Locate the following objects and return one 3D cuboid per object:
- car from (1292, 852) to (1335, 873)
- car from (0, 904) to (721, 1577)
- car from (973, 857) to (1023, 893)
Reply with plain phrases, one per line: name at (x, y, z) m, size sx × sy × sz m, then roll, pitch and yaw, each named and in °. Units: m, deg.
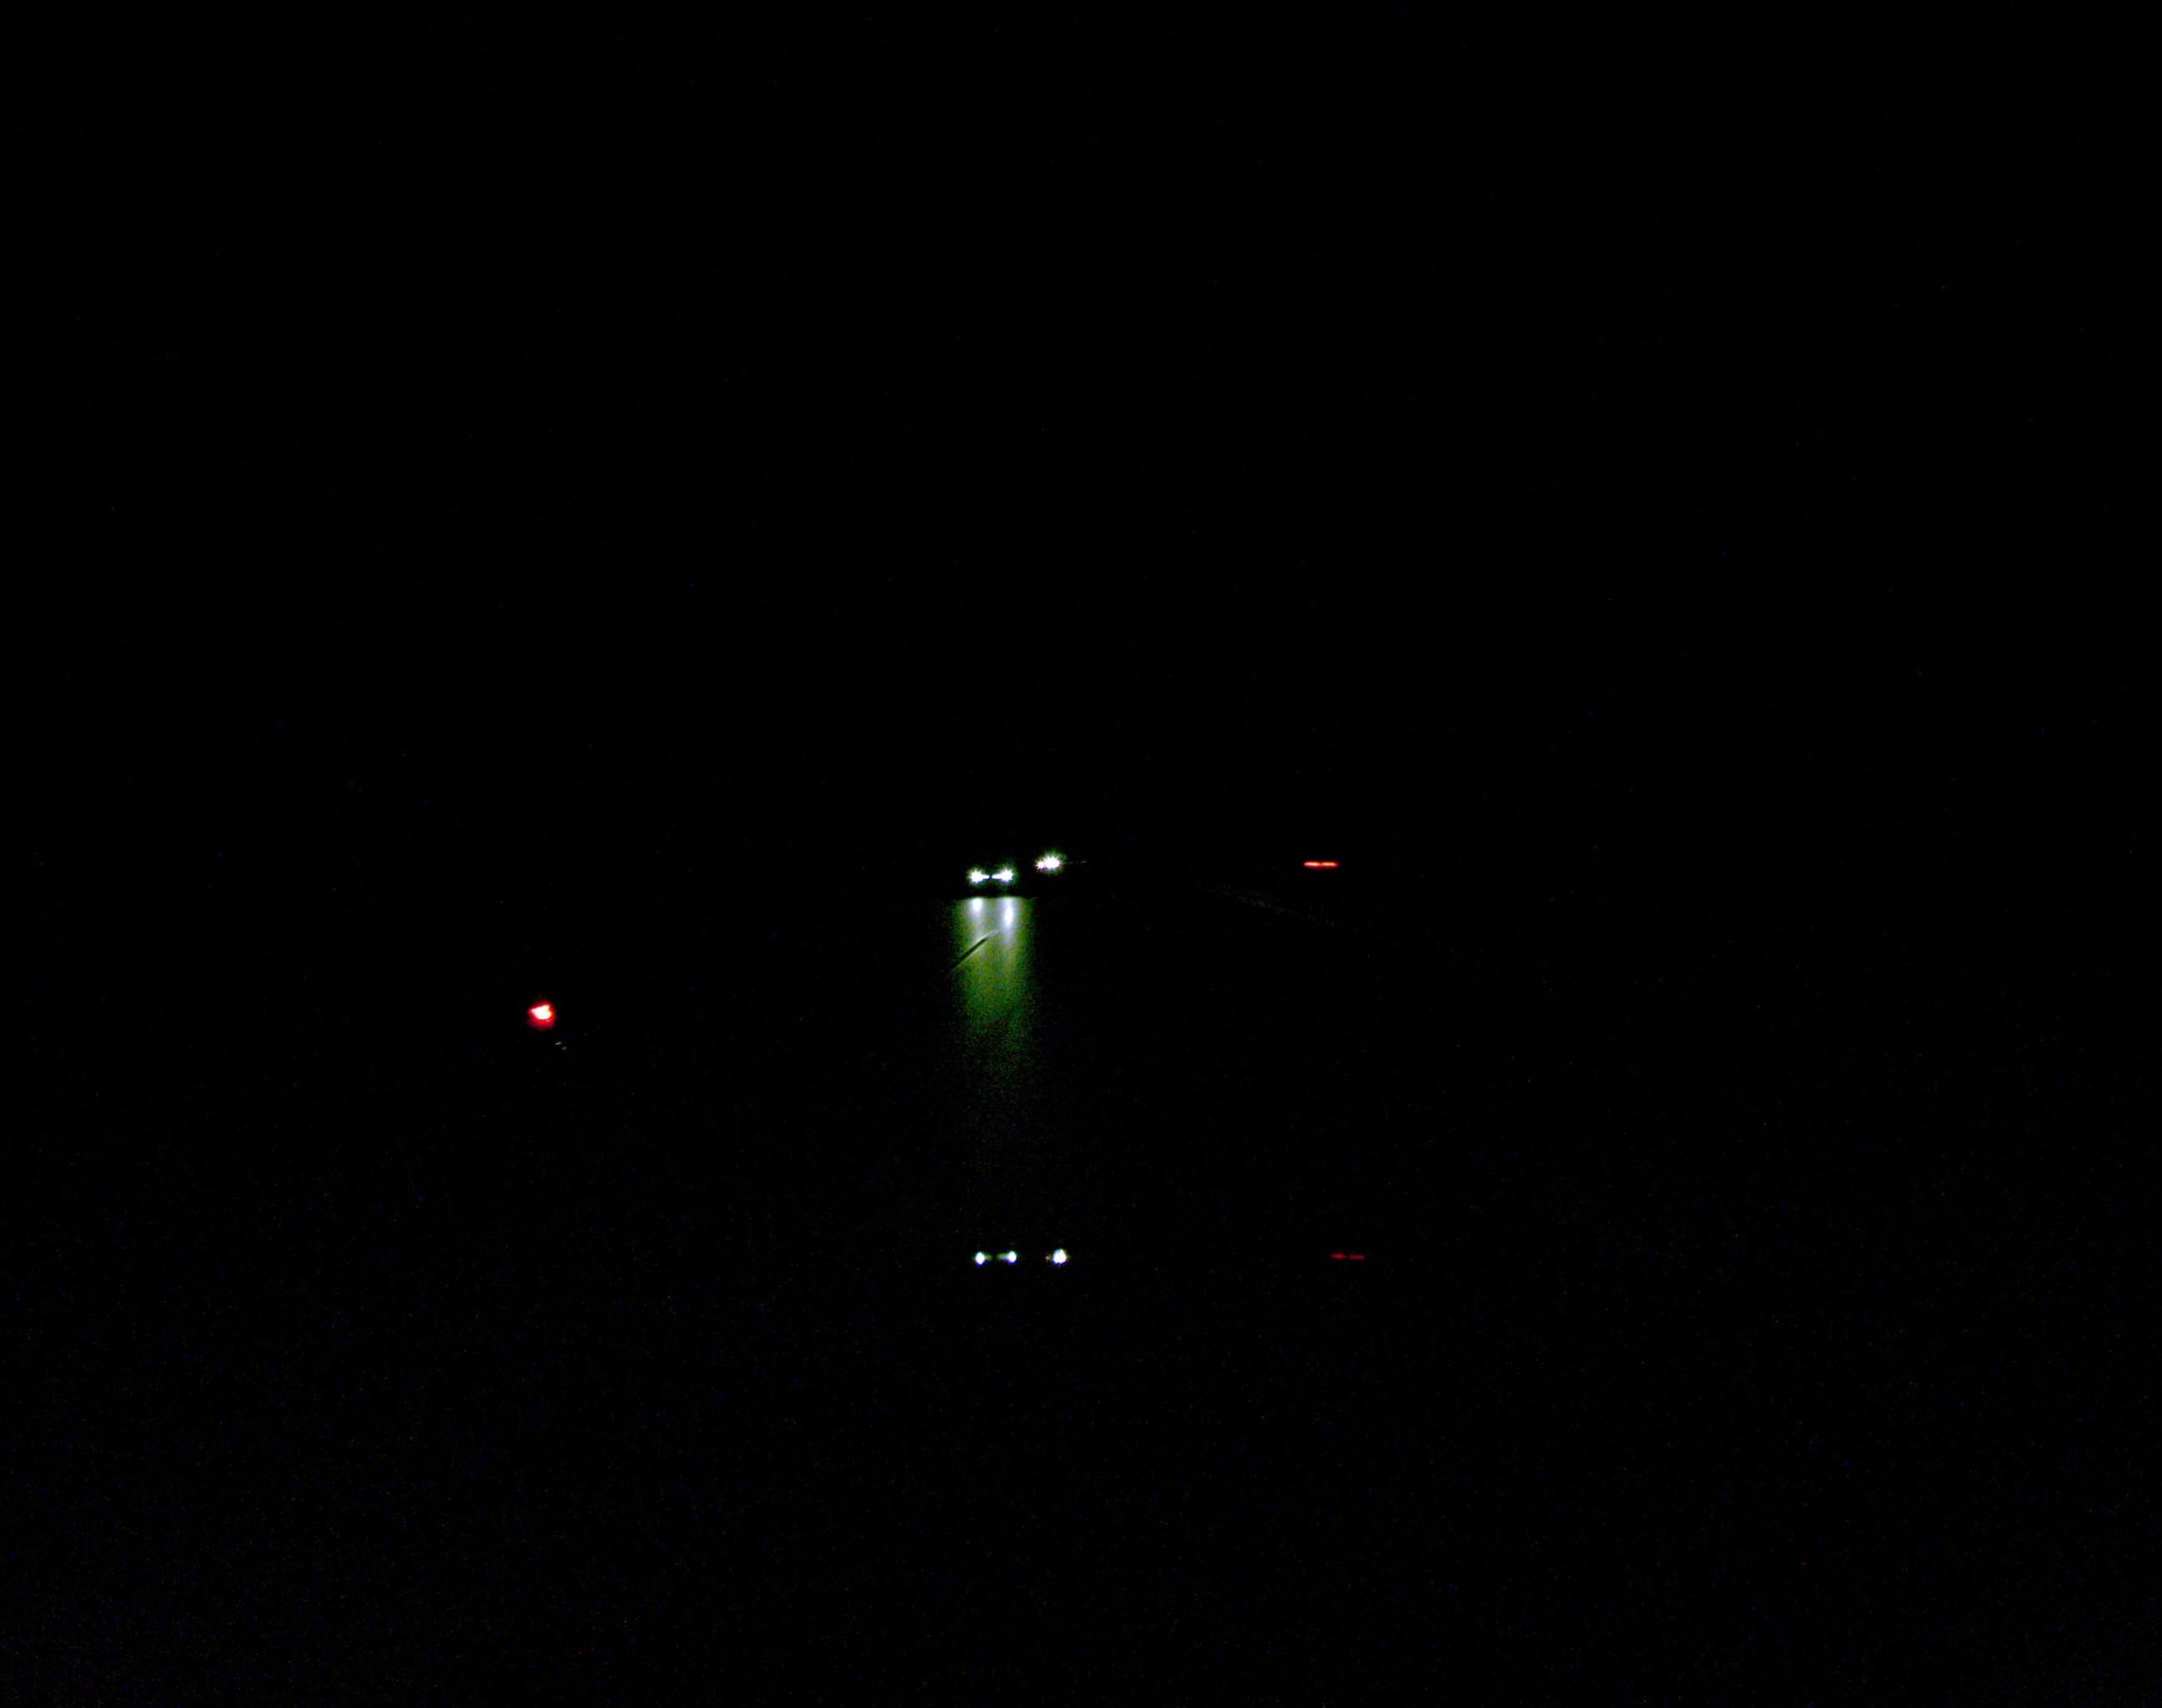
car at (18.076, 0.635, 59.299) m, size 1.795 × 1.532 × 4.551 m, roll 2°, pitch 0°, yaw -1°
car at (-3.479, 1.074, 3.365) m, size 1.690 × 1.405 × 4.225 m, roll -1°, pitch 0°, yaw 1°
car at (-3.834, 0.941, 35.797) m, size 1.795 × 1.532 × 4.225 m, roll -1°, pitch 0°, yaw 1°
